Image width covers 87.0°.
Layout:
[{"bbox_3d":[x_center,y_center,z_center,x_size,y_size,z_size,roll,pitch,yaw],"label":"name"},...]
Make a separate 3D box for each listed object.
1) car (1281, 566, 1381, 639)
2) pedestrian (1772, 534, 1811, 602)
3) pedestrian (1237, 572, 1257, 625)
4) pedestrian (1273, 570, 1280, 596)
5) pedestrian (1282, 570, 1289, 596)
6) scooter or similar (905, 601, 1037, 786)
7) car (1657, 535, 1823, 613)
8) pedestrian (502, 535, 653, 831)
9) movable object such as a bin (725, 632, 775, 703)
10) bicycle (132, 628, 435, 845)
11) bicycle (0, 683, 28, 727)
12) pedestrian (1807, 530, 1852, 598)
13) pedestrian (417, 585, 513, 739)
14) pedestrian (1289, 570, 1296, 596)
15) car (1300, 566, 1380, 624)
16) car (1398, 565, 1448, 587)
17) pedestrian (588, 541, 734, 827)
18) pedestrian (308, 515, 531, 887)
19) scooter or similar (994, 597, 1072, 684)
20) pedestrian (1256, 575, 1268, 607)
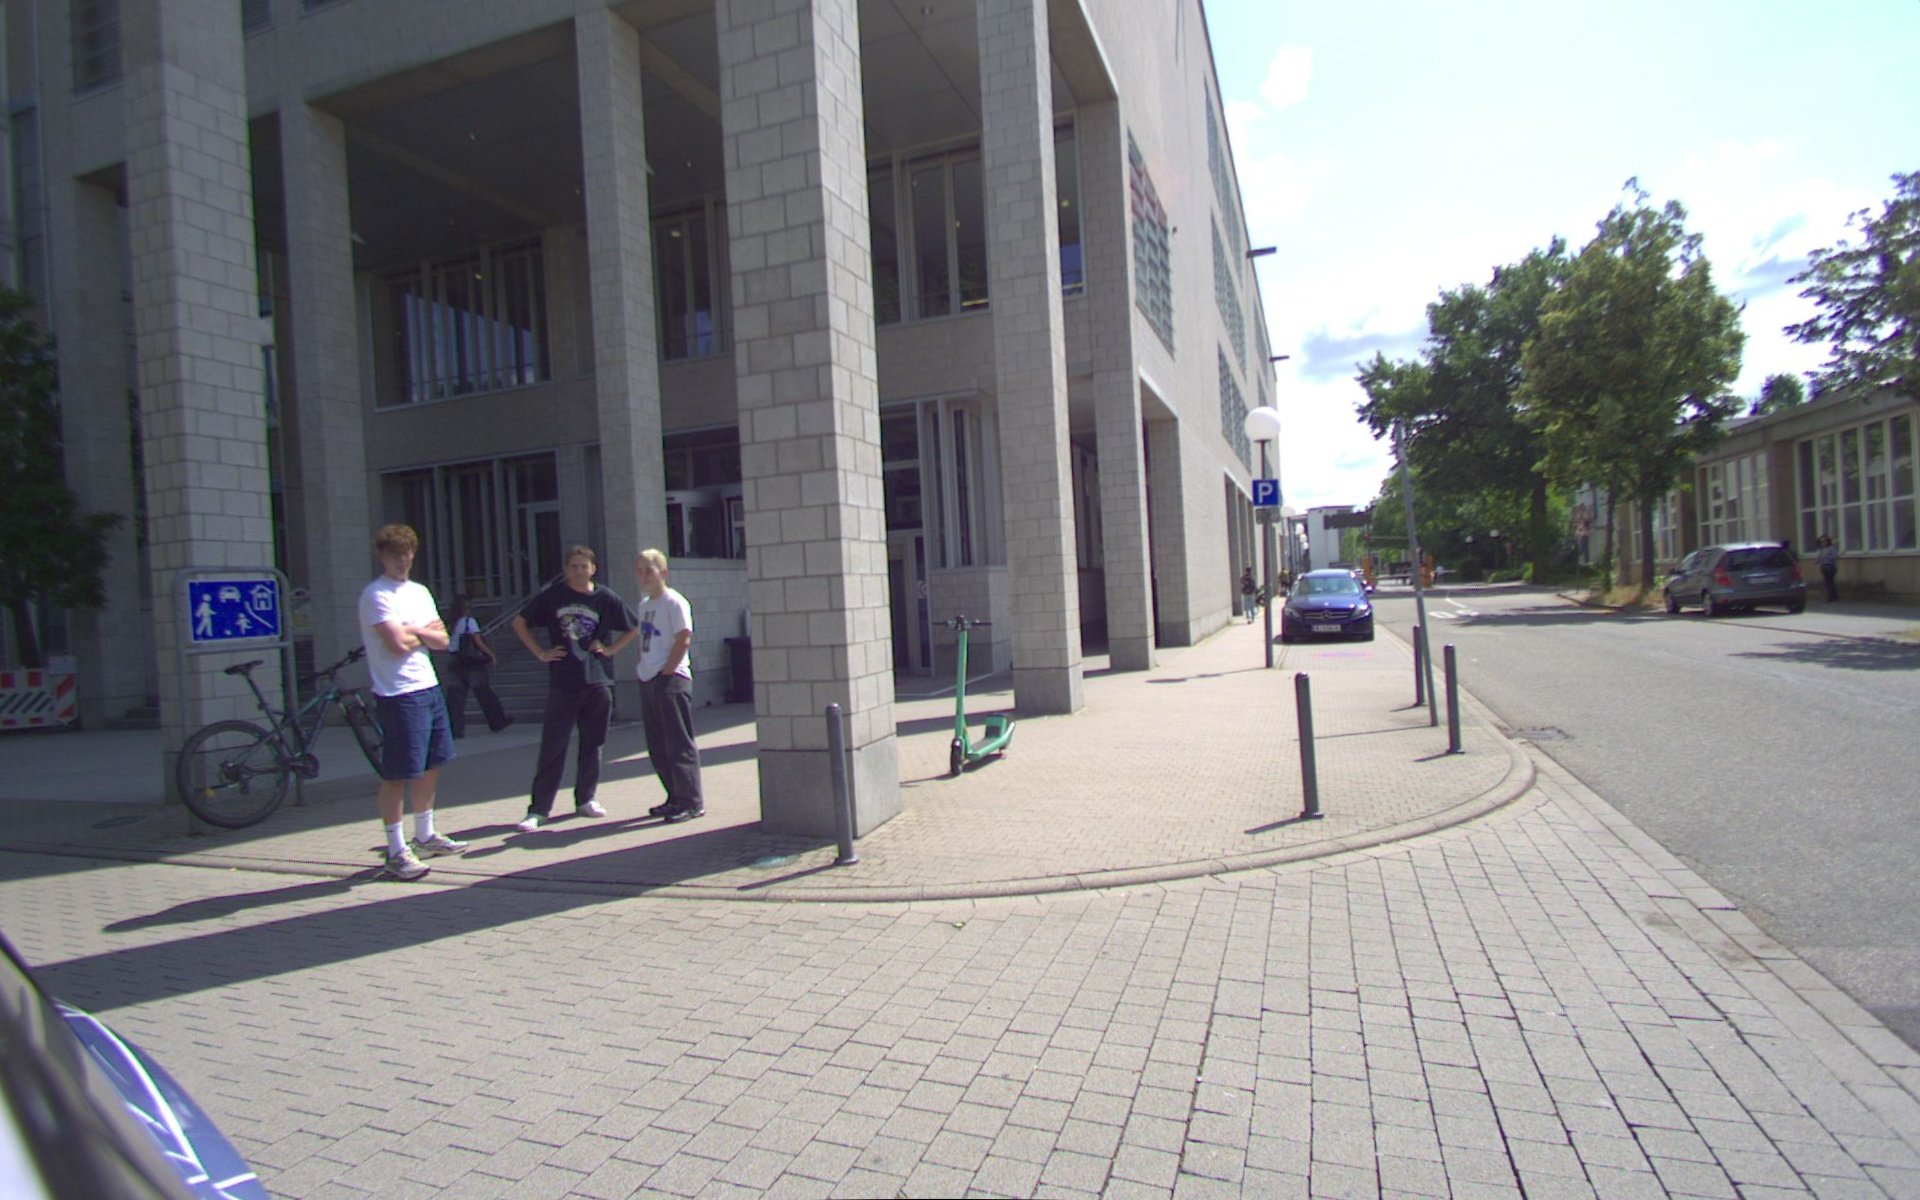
[{"bbox_3d":[8.052,0.056,22.052,1.830,1.408,3.852,-2,0,20],"label":"car"},{"bbox_3d":[19.828,-0.749,24.143,0.542,1.592,0.607,-1,0,-39],"label":"pedestrian"},{"bbox_3d":[8.657,-0.047,30.505,0.546,1.592,0.602,-1,0,17],"label":"pedestrian"},{"bbox_3d":[20.151,-1.075,64.412,0.438,1.642,0.566,0,0,21],"label":"pedestrian"},{"bbox_3d":[20.635,-1.077,64.228,0.380,1.642,0.516,0,0,21],"label":"pedestrian"},{"bbox_3d":[0.127,0.643,7.723,0.560,1.221,1.501,-1,1,18],"label":"scooter or similar"},{"bbox_3d":[17.667,-0.571,23.149,1.791,1.460,3.654,-6,-1,19],"label":"car"},{"bbox_3d":[-2.538,0.511,6.707,0.796,1.810,0.622,-3,0,-23],"label":"pedestrian"},{"bbox_3d":[-2.966,0.949,14.306,0.509,0.956,0.509,0,0,18],"label":"movable object such as a bin"},{"bbox_3d":[-4.769,0.897,7.311,0.527,1.251,1.819,-3,1,19],"label":"bicycle"},{"bbox_3d":[-18.285,1.962,18.720,1.973,0.765,0.640,-2,-1,18],"label":"bicycle"},{"bbox_3d":[20.580,-0.842,23.962,0.600,1.592,0.548,-1,0,18],"label":"pedestrian"},{"bbox_3d":[-5.853,0.713,11.994,0.682,1.747,0.684,-3,0,7],"label":"pedestrian"},{"bbox_3d":[21.036,-1.078,64.050,0.380,1.642,0.516,0,0,21],"label":"pedestrian"},{"bbox_3d":[10.072,-0.120,26.955,1.830,1.408,3.852,-2,0,20],"label":"car"},{"bbox_3d":[40.523,-2.085,88.707,3.647,1.460,1.794,-6,-1,19],"label":"car"},{"bbox_3d":[-1.913,0.517,6.508,0.610,1.742,0.539,-3,0,21],"label":"pedestrian"},{"bbox_3d":[-2.967,0.529,5.600,0.681,1.905,0.682,-4,1,17],"label":"pedestrian"},{"bbox_3d":[1.101,0.594,15.582,0.555,1.220,1.515,-4,2,-20],"label":"scooter or similar"},{"bbox_3d":[13.623,-0.413,45.686,0.462,1.419,0.461,0,0,26],"label":"pedestrian"}]
